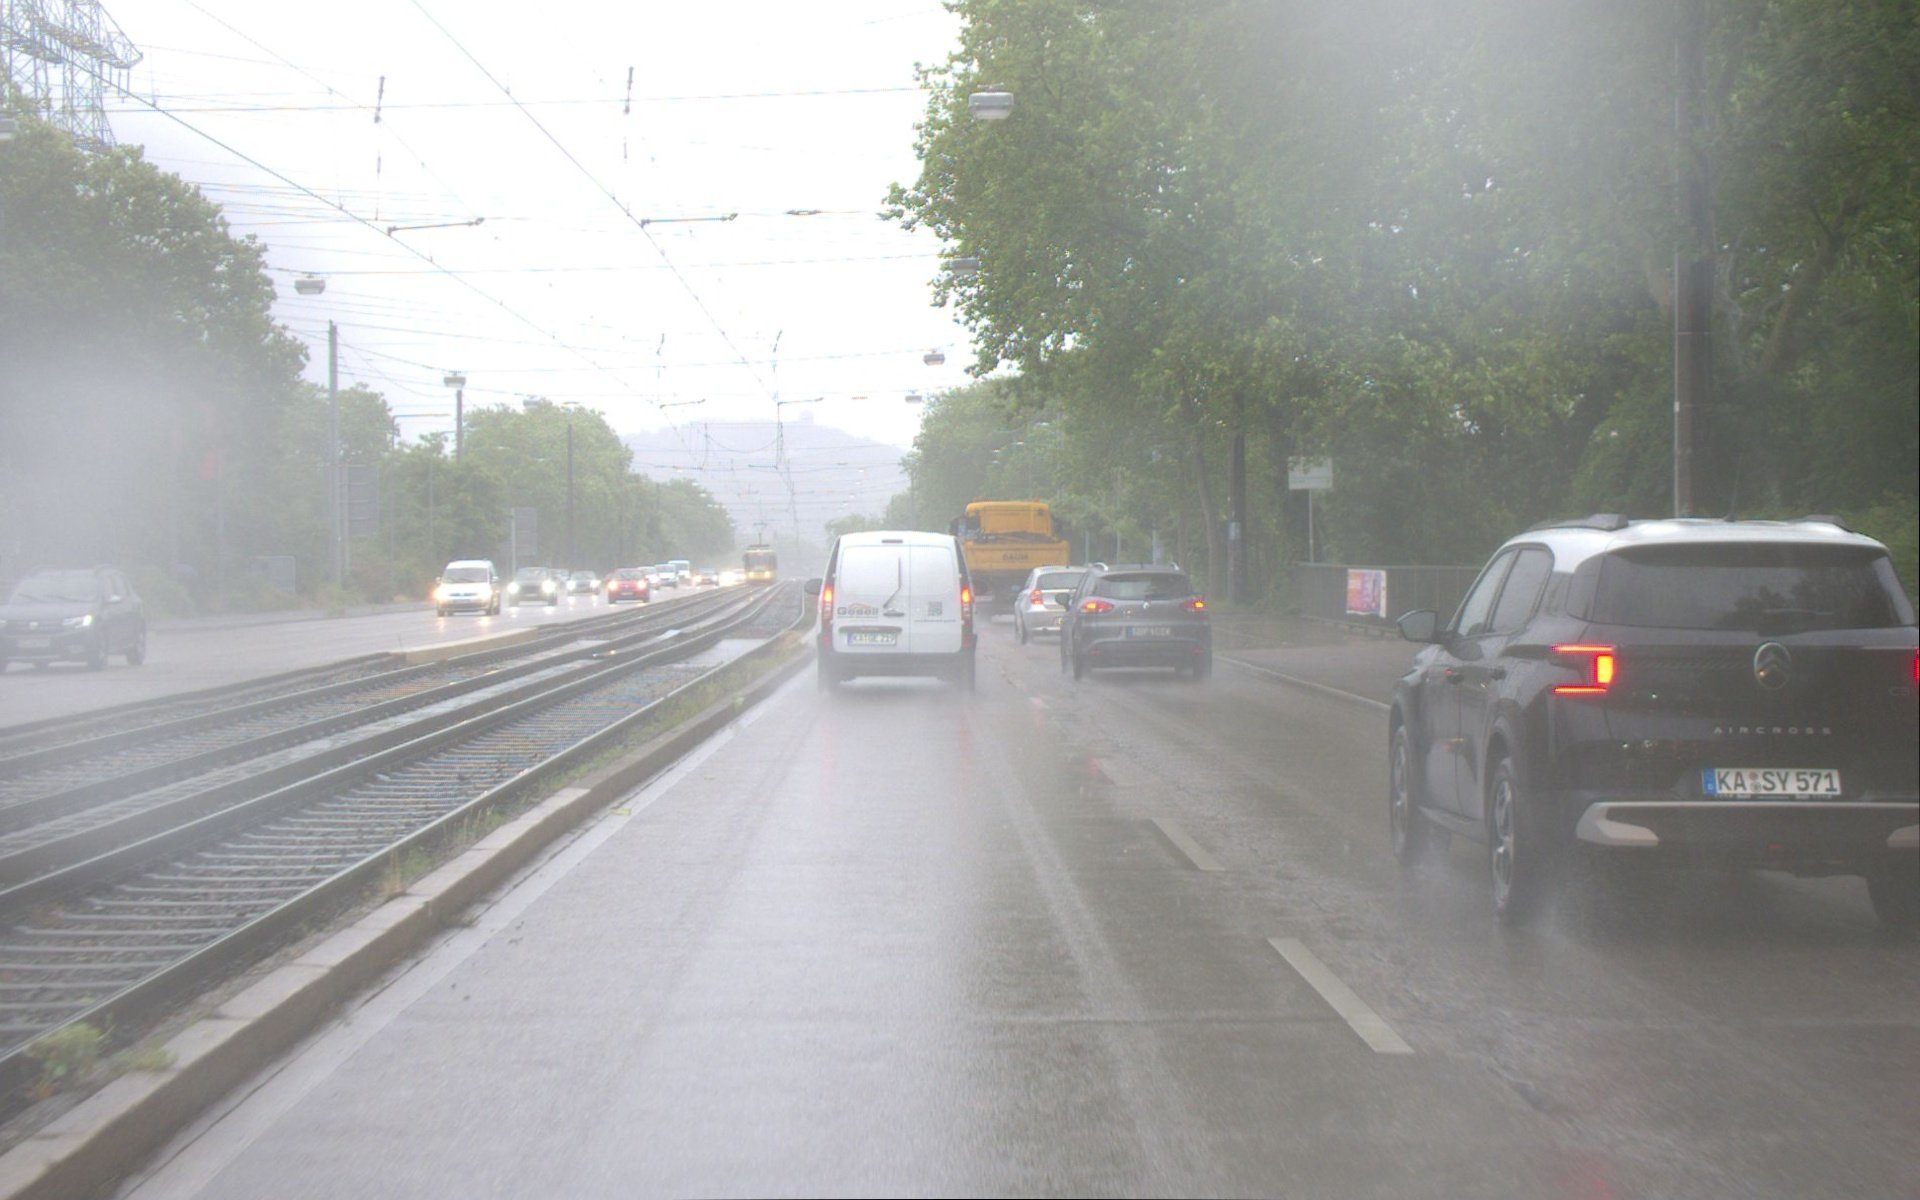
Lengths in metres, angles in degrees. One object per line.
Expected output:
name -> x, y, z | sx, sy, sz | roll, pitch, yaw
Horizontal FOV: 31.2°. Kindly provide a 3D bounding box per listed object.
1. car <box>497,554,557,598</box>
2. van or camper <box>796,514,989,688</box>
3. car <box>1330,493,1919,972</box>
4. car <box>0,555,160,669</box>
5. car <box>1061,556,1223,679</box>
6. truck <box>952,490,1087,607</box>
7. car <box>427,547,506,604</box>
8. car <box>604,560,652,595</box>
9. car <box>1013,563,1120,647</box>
car -> -18.408, -1.049, 146.322 | 1.993, 1.809, 4.000 | 0, 1, 0
van or camper -> -0.819, -0.040, 38.934 | 1.993, 1.778, 4.001 | 1, 2, -3
car -> 2.891, 0.409, 14.734 | 1.899, 1.711, 4.726 | 1, 2, -2
car -> -13.635, 0.150, 52.023 | 1.993, 1.612, 4.253 | -1, 1, 1
car -> 2.264, 0.186, 43.539 | 1.818, 1.409, 3.779 | 1, 2, 0
truck -> 1.415, -1.295, 85.361 | 3.112, 2.763, 6.330 | 0, 1, -1
car -> -16.148, -0.811, 112.651 | 1.993, 1.809, 4.659 | -1, 1, -1
car -> -14.413, -0.989, 149.440 | 1.657, 1.481, 4.013 | 0, 1, 0
car -> 1.929, 0.071, 63.172 | 1.818, 1.409, 3.779 | 1, 2, 0
